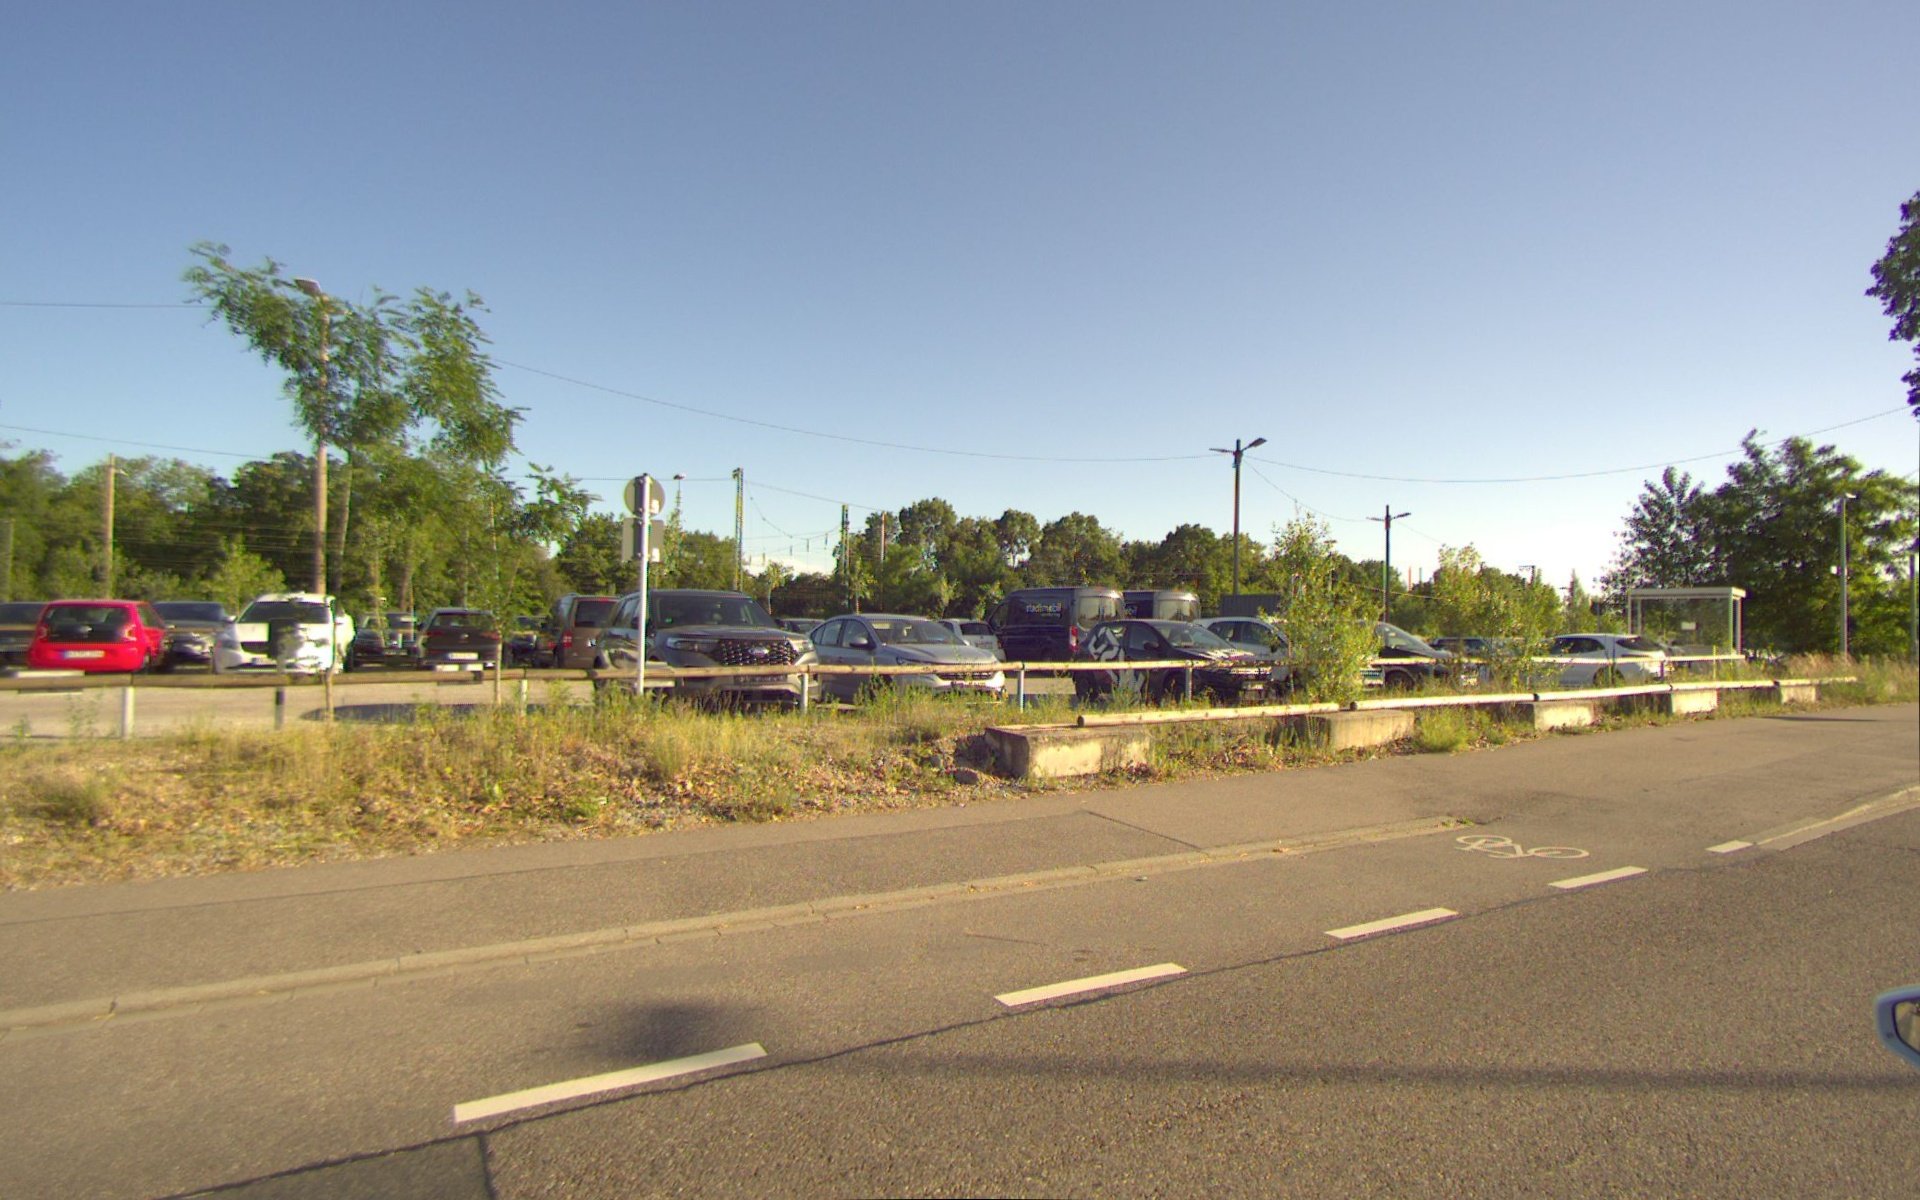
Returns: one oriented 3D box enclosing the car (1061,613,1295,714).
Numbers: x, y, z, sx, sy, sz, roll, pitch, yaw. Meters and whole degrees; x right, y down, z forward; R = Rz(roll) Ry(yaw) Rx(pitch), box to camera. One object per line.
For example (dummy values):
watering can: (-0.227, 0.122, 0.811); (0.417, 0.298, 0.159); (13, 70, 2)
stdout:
car: (3.645, 1.021, 17.493); (1.833, 1.535, 3.970); (2, -2, -29)

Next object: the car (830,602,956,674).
car: (-1.893, 0.971, 27.045); (1.806, 1.602, 3.967); (2, 2, -30)

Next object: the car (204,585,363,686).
car: (-13.131, 0.607, 19.794); (2.014, 1.717, 4.668); (2, 0, -27)

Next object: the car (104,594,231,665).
car: (-18.207, 0.655, 23.263); (1.928, 1.481, 4.164); (2, -1, -33)

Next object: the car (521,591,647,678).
car: (-8.677, 0.731, 23.008); (1.754, 1.757, 3.741); (2, 0, -36)

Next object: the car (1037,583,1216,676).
car: (4.921, 0.872, 30.585); (2.375, 2.550, 5.465); (2, -1, -31)

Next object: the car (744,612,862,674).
car: (-4.075, 1.046, 25.585); (1.738, 1.450, 3.971); (2, -1, -28)

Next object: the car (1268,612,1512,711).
car: (8.367, 1.127, 19.872); (1.854, 1.676, 4.105); (1, -1, -34)

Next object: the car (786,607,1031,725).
car: (-0.887, 0.858, 14.627); (1.820, 1.473, 3.888); (2, -1, -34)

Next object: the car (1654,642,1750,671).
car: (50.351, 3.811, 68.248); (1.975, 1.788, 4.927); (2, -1, -27)

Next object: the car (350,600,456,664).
car: (-14.206, 0.787, 25.832); (2.064, 1.491, 4.090); (2, -1, -25)

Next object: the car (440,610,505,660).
car: (-17.615, 1.231, 36.227); (1.962, 1.611, 4.172); (2, 0, -28)

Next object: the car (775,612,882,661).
car: (-4.300, 1.146, 32.281); (2.076, 1.438, 4.172); (2, -1, -28)

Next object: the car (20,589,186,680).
car: (-16.030, 0.602, 18.994); (1.707, 1.524, 3.966); (3, -1, -31)

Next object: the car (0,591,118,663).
car: (-20.192, 0.571, 22.172); (1.966, 1.451, 4.164); (2, -1, -33)

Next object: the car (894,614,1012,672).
car: (-0.273, 1.202, 29.050); (1.813, 1.528, 3.722); (2, -1, -30)

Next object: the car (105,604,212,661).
car: (-25.189, 0.978, 31.709); (1.963, 1.611, 4.169); (2, 0, -30)

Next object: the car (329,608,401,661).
car: (-20.266, 1.142, 34.314); (1.963, 1.611, 4.179); (2, 0, -30)

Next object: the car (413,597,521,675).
car: (-10.862, 0.739, 21.982); (1.869, 1.507, 3.912); (2, 0, -30)

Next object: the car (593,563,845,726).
car: (-3.382, 0.616, 13.381); (2.045, 1.766, 4.502); (2, -3, -31)

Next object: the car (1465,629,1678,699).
car: (15.269, 1.543, 25.309); (1.869, 1.531, 4.239); (2, -1, -30)

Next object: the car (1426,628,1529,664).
car: (29.312, 2.602, 57.094); (2.169, 1.863, 4.998); (1, -1, -23)

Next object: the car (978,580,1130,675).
car: (2.612, 0.766, 28.931); (2.105, 2.500, 4.444); (2, -1, -31)

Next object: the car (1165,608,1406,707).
car: (5.960, 0.998, 18.791); (1.868, 1.632, 4.019); (2, -2, -34)

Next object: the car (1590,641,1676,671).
car: (42.615, 3.510, 63.663); (1.954, 1.728, 4.126); (2, -1, -28)
